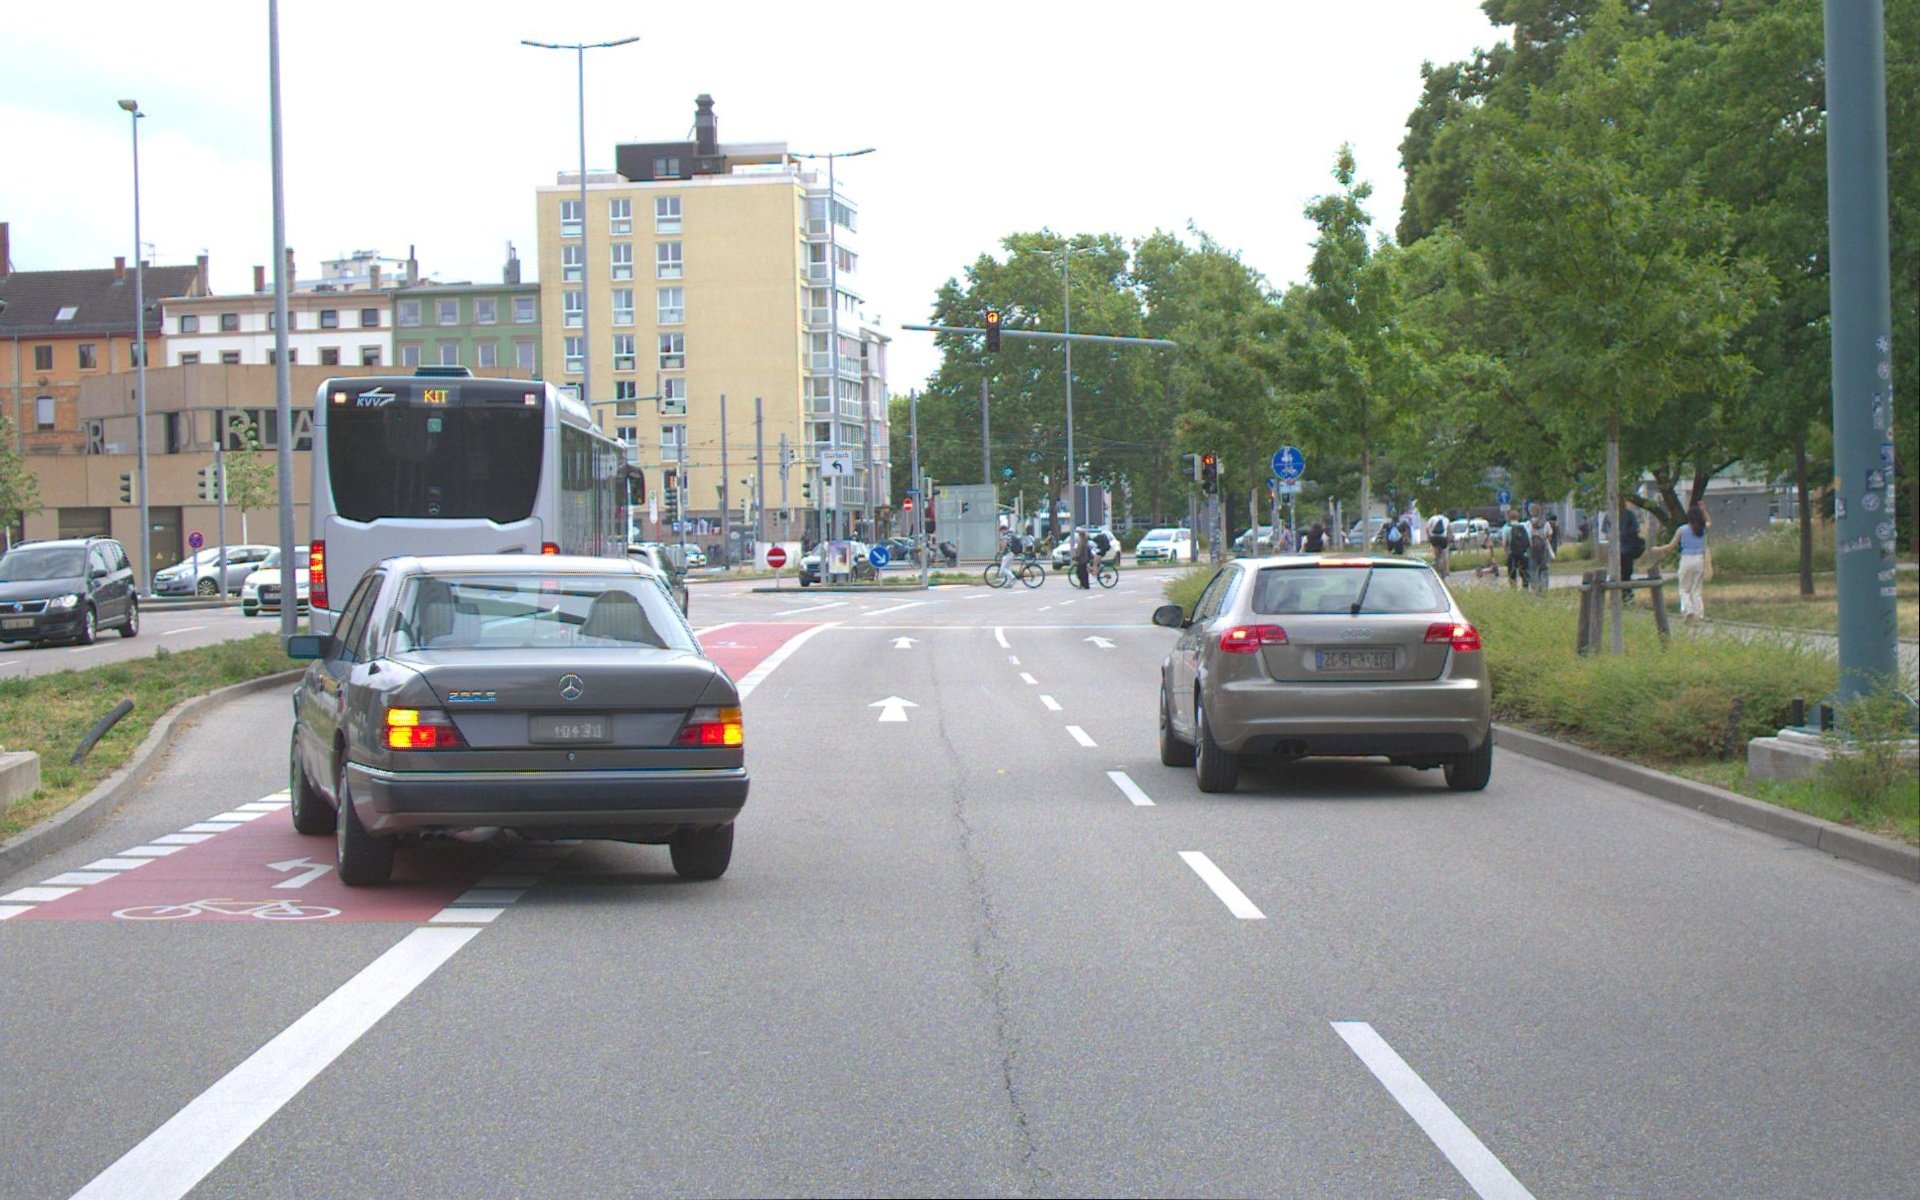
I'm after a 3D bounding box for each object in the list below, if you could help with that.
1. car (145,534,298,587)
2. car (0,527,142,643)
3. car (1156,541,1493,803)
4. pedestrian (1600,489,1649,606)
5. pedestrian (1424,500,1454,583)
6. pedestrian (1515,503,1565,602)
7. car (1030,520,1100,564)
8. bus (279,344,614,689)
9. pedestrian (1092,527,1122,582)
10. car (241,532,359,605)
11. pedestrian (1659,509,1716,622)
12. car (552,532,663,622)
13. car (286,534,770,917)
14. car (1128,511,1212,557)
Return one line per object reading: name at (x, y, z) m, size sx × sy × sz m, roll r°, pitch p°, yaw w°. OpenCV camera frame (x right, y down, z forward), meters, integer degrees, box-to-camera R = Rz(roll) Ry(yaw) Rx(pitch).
car at (-19.686, -1.056, 91.665) m, size 3.673 × 1.389 × 1.584 m, roll -1°, pitch 1°, yaw -36°
car at (-14.223, -0.252, 53.882) m, size 1.801 × 1.660 × 4.301 m, roll -3°, pitch 1°, yaw -1°
car at (2.215, 0.386, 21.732) m, size 1.724 × 1.452 × 3.736 m, roll -1°, pitch 1°, yaw 0°
pedestrian at (9.845, -0.781, 50.905) m, size 0.647 × 1.707 × 0.561 m, roll -1°, pitch 1°, yaw 14°
pedestrian at (11.703, -1.429, 84.026) m, size 0.614 × 2.007 × 0.597 m, roll -1°, pitch 1°, yaw -2°
pedestrian at (10.182, -0.833, 60.348) m, size 0.802 × 1.707 × 0.764 m, roll -1°, pitch 1°, yaw 12°
car at (4.359, -2.408, 142.184) m, size 1.995 × 1.697 × 3.998 m, roll -1°, pitch 1°, yaw 15°
bus at (-5.512, -0.933, 38.250) m, size 2.831 × 3.378 × 8.184 m, roll -1°, pitch 1°, yaw -3°
pedestrian at (4.290, -1.327, 100.574) m, size 0.555 × 1.587 × 0.632 m, roll -1°, pitch 0°, yaw -40°
car at (-13.578, -0.671, 70.864) m, size 1.670 × 1.384 × 3.923 m, roll -2°, pitch 1°, yaw -1°
pedestrian at (9.602, -0.454, 45.363) m, size 0.657 × 1.465 × 0.561 m, roll -1°, pitch 1°, yaw 16°
car at (-5.825, -0.401, 57.103) m, size 1.655 × 1.391 × 3.861 m, roll -1°, pitch 1°, yaw -4°
car at (-2.127, 0.457, 15.908) m, size 1.761 × 1.484 × 4.172 m, roll -2°, pitch 1°, yaw -13°
car at (9.985, -3.140, 163.184) m, size 2.586 × 2.102 × 5.596 m, roll -1°, pitch 1°, yaw 19°
